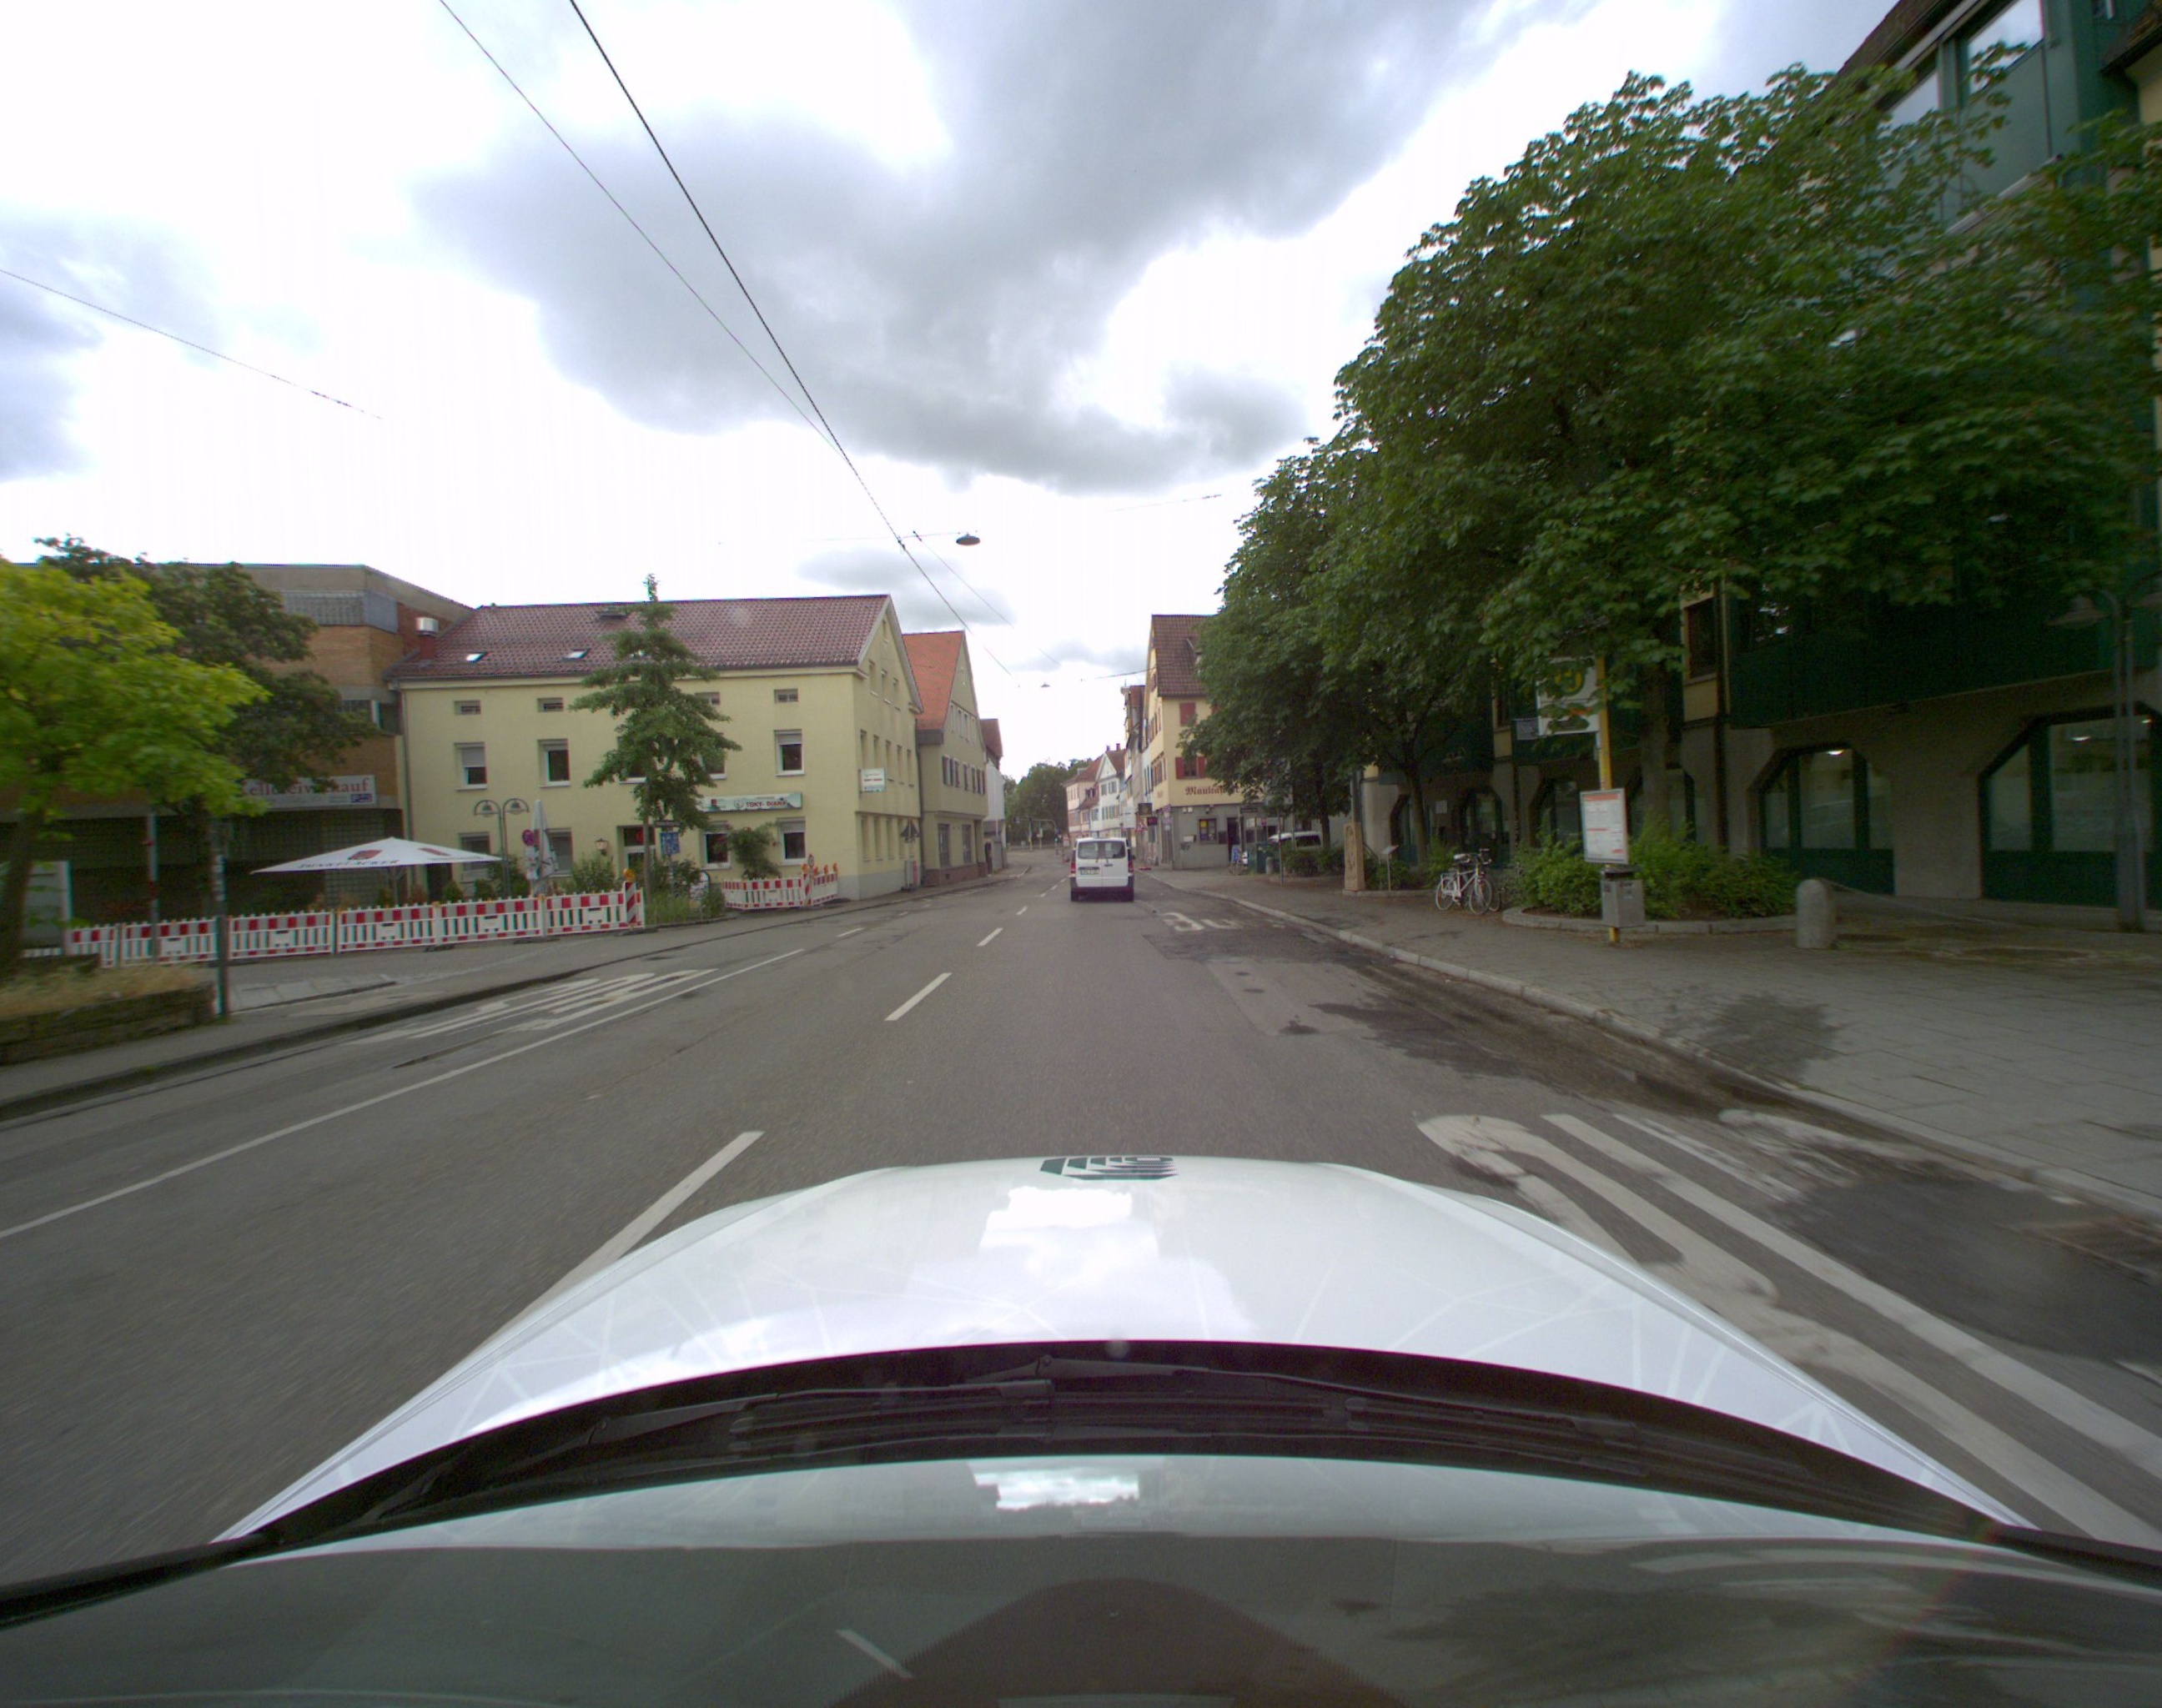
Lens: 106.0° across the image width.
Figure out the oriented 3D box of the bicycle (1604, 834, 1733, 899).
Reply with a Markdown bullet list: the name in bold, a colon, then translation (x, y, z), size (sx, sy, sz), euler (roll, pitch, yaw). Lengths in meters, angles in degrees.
- **bicycle**: translation (10.661, 0.194, 14.902), size (0.543, 1.069, 2.288), euler (-3, 1, -4)

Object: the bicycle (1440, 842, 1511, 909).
- **bicycle**: translation (7.211, 0.362, 14.983), size (0.332, 1.141, 1.959), euler (-2, 1, 0)

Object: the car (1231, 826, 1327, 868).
- **car**: translation (9.832, -0.390, 40.544), size (4.236, 1.797, 1.845), euler (-3, 3, -6)

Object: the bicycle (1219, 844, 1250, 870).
- **bicycle**: translation (6.700, 0.135, 35.617), size (0.501, 1.106, 1.627), euler (-4, 1, -19)

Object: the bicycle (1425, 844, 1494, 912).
- **bicycle**: translation (6.875, 0.397, 14.876), size (0.332, 1.140, 1.959), euler (-2, 1, 0)

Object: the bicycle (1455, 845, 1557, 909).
- **bicycle**: translation (7.879, 0.381, 15.243), size (0.543, 1.069, 2.288), euler (-3, 1, -4)

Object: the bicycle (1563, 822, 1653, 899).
- **bicycle**: translation (9.544, 0.100, 14.827), size (0.332, 1.300, 1.959), euler (-2, 0, 0)

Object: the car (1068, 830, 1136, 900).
- **car**: translation (0.677, 0.269, 25.150), size (1.865, 1.911, 4.003), euler (-3, 1, 2)

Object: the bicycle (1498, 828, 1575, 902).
- **bicycle**: translation (8.558, 0.191, 15.395), size (0.332, 1.300, 1.959), euler (-2, 0, 0)

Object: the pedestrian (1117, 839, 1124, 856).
- **pedestrian**: translation (4.163, -0.653, 85.218), size (0.641, 1.747, 0.562), euler (-2, 0, -3)
